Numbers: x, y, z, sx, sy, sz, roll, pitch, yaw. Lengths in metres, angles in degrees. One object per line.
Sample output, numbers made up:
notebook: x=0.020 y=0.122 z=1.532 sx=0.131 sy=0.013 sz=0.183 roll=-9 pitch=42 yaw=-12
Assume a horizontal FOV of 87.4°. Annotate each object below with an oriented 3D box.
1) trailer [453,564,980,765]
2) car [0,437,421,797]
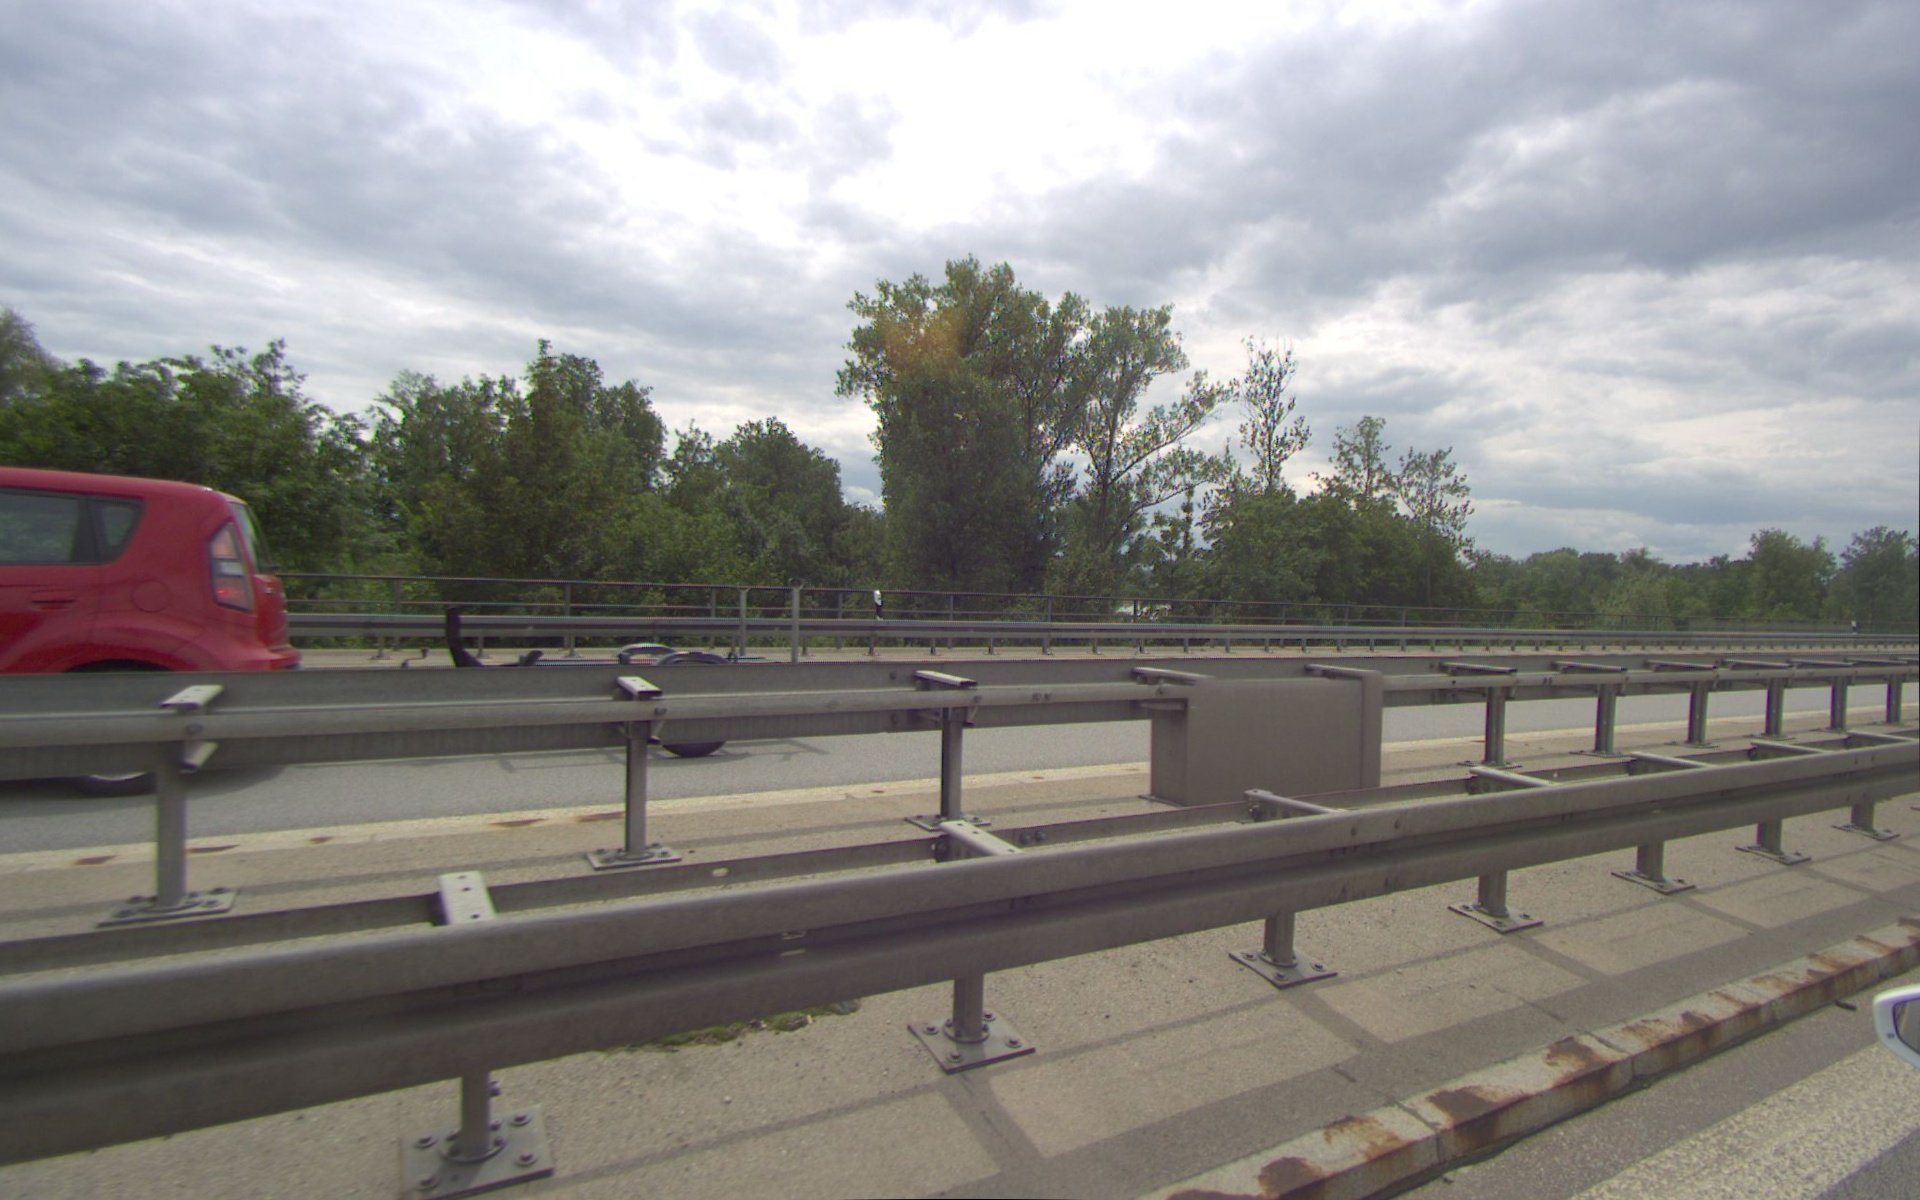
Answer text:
trailer: x=-1.705 y=0.395 z=7.255 sx=3.410 sy=1.140 sz=1.551 roll=1 pitch=0 yaw=-31
car: x=-5.349 y=0.047 z=5.126 sx=4.515 sy=1.662 sz=1.803 roll=1 pitch=1 yaw=-31
